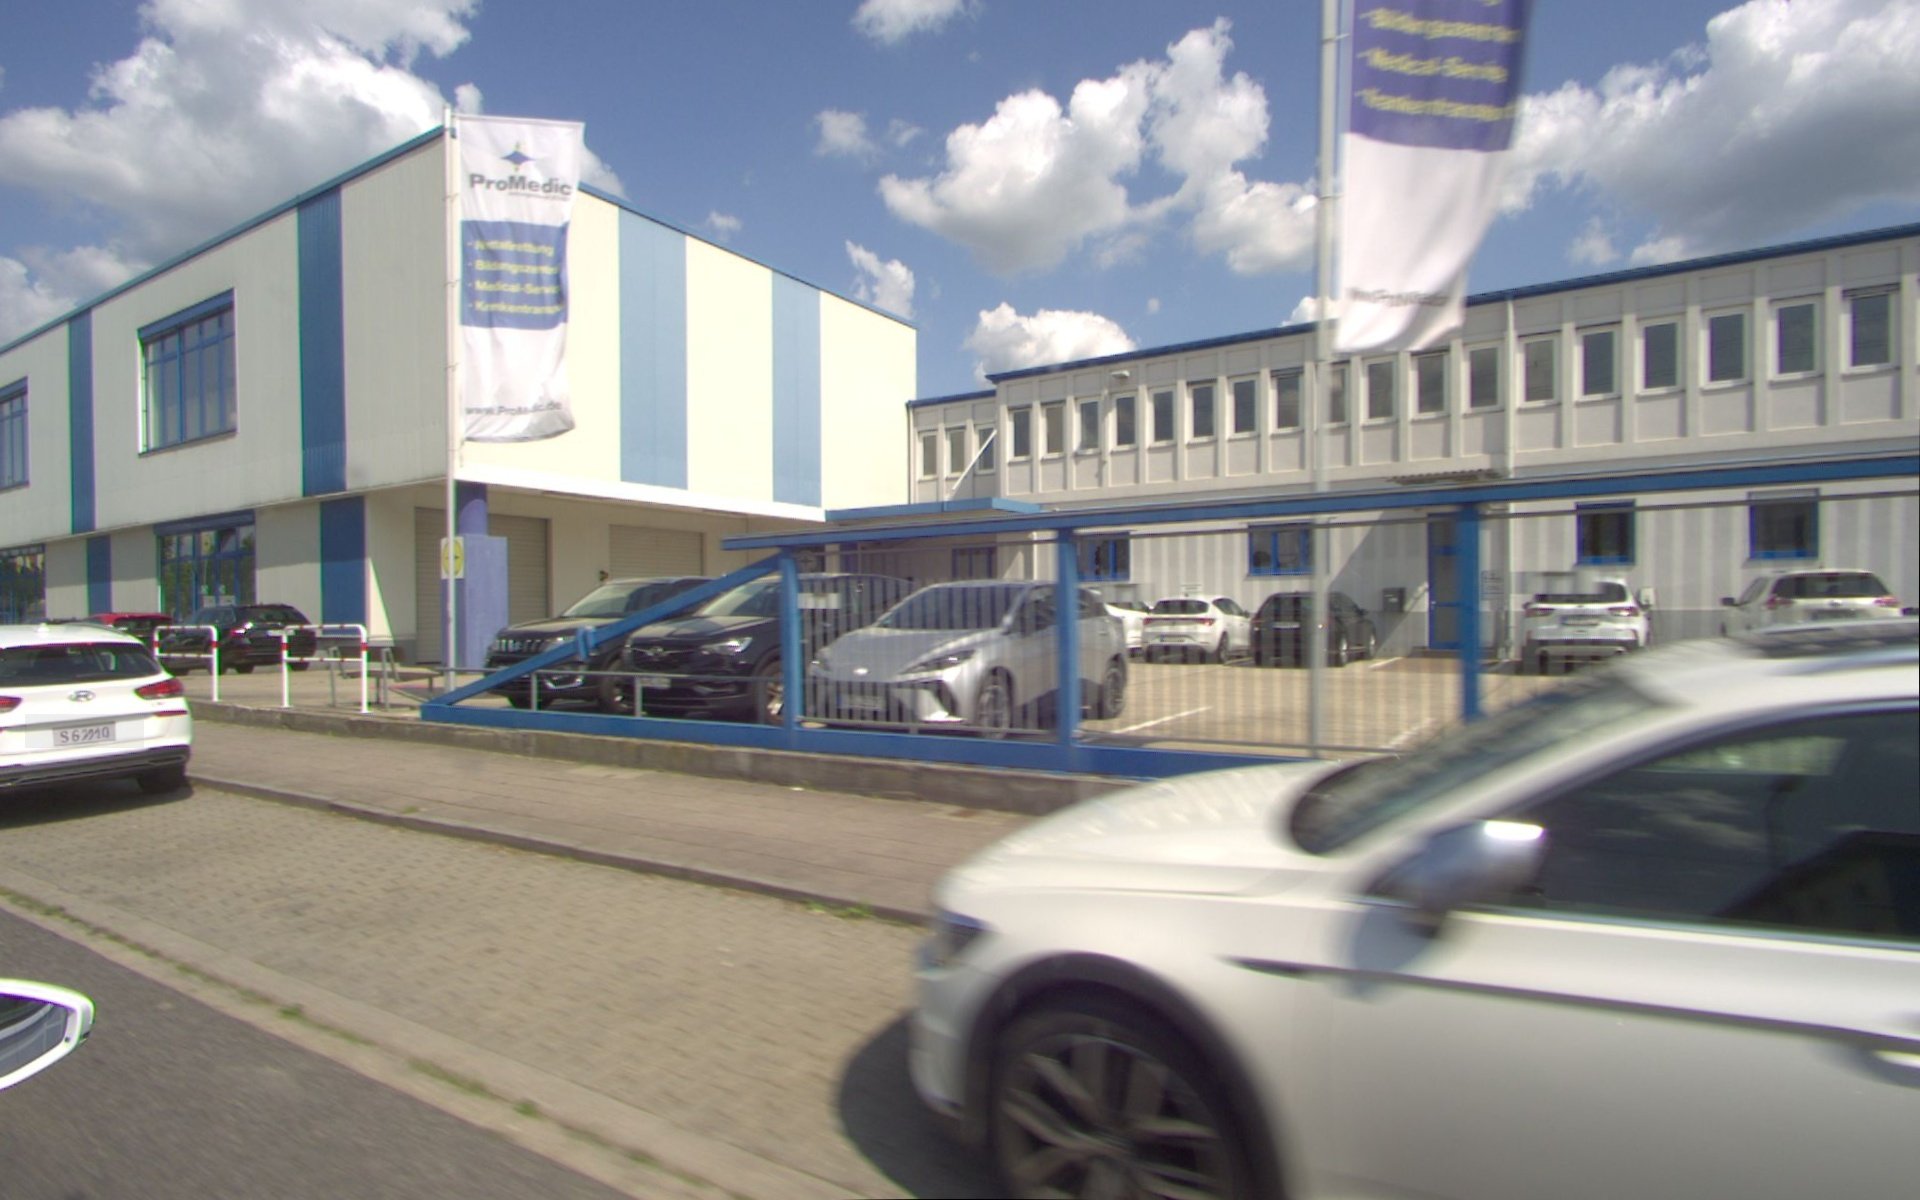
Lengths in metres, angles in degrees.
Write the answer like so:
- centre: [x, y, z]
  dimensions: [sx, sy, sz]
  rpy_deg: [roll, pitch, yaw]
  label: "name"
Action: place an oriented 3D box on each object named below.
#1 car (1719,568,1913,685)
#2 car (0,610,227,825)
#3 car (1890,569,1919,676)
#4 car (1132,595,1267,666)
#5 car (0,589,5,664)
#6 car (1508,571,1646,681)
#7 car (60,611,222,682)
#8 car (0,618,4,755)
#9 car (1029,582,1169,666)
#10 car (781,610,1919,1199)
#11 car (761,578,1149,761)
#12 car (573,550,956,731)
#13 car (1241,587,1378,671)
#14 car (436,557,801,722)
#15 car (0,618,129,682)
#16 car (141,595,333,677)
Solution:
- centre: [13.690, 0.401, 16.260]
  dimensions: [1.780, 1.651, 3.980]
  rpy_deg: [0, -1, 31]
  label: "car"
- centre: [-8.485, 0.899, 8.776]
  dimensions: [4.397, 1.540, 1.832]
  rpy_deg: [-1, -2, 32]
  label: "car"
- centre: [16.017, 0.353, 15.380]
  dimensions: [1.780, 1.713, 3.980]
  rpy_deg: [0, -1, 31]
  label: "car"
- centre: [5.406, 0.646, 22.273]
  dimensions: [1.780, 1.418, 3.980]
  rpy_deg: [0, -1, 31]
  label: "car"
- centre: [-34.806, 0.921, 34.264]
  dimensions: [5.185, 2.495, 1.920]
  rpy_deg: [-1, -2, 33]
  label: "car"
- centre: [10.992, 0.439, 17.916]
  dimensions: [1.906, 1.724, 3.980]
  rpy_deg: [0, -1, 31]
  label: "car"
- centre: [-20.954, 1.178, 25.592]
  dimensions: [4.230, 1.678, 1.989]
  rpy_deg: [-2, -2, 33]
  label: "car"
- centre: [-12.836, 0.989, 11.592]
  dimensions: [3.938, 1.540, 1.665]
  rpy_deg: [-1, -2, 32]
  label: "car"
- centre: [3.324, 0.527, 23.270]
  dimensions: [1.780, 1.763, 4.050]
  rpy_deg: [0, -1, 31]
  label: "car"
- centre: [1.920, 0.807, 2.293]
  dimensions: [4.532, 1.540, 1.865]
  rpy_deg: [-1, -2, 32]
  label: "car"
- centre: [0.195, 0.559, 10.210]
  dimensions: [1.972, 1.439, 4.270]
  rpy_deg: [0, 0, 32]
  label: "car"
- centre: [-2.023, 0.418, 11.596]
  dimensions: [2.116, 1.668, 4.220]
  rpy_deg: [-1, -1, 31]
  label: "car"
- centre: [7.242, 0.560, 20.503]
  dimensions: [1.906, 1.528, 3.980]
  rpy_deg: [0, -1, 31]
  label: "car"
- centre: [-4.069, 0.451, 12.598]
  dimensions: [1.971, 1.708, 4.078]
  rpy_deg: [-1, -1, 31]
  label: "car"
- centre: [-25.496, 1.403, 28.458]
  dimensions: [4.156, 1.673, 1.711]
  rpy_deg: [-2, -1, 33]
  label: "car"
- centre: [-15.771, 0.819, 21.782]
  dimensions: [4.577, 1.531, 1.824]
  rpy_deg: [-4, -2, 33]
  label: "car"
